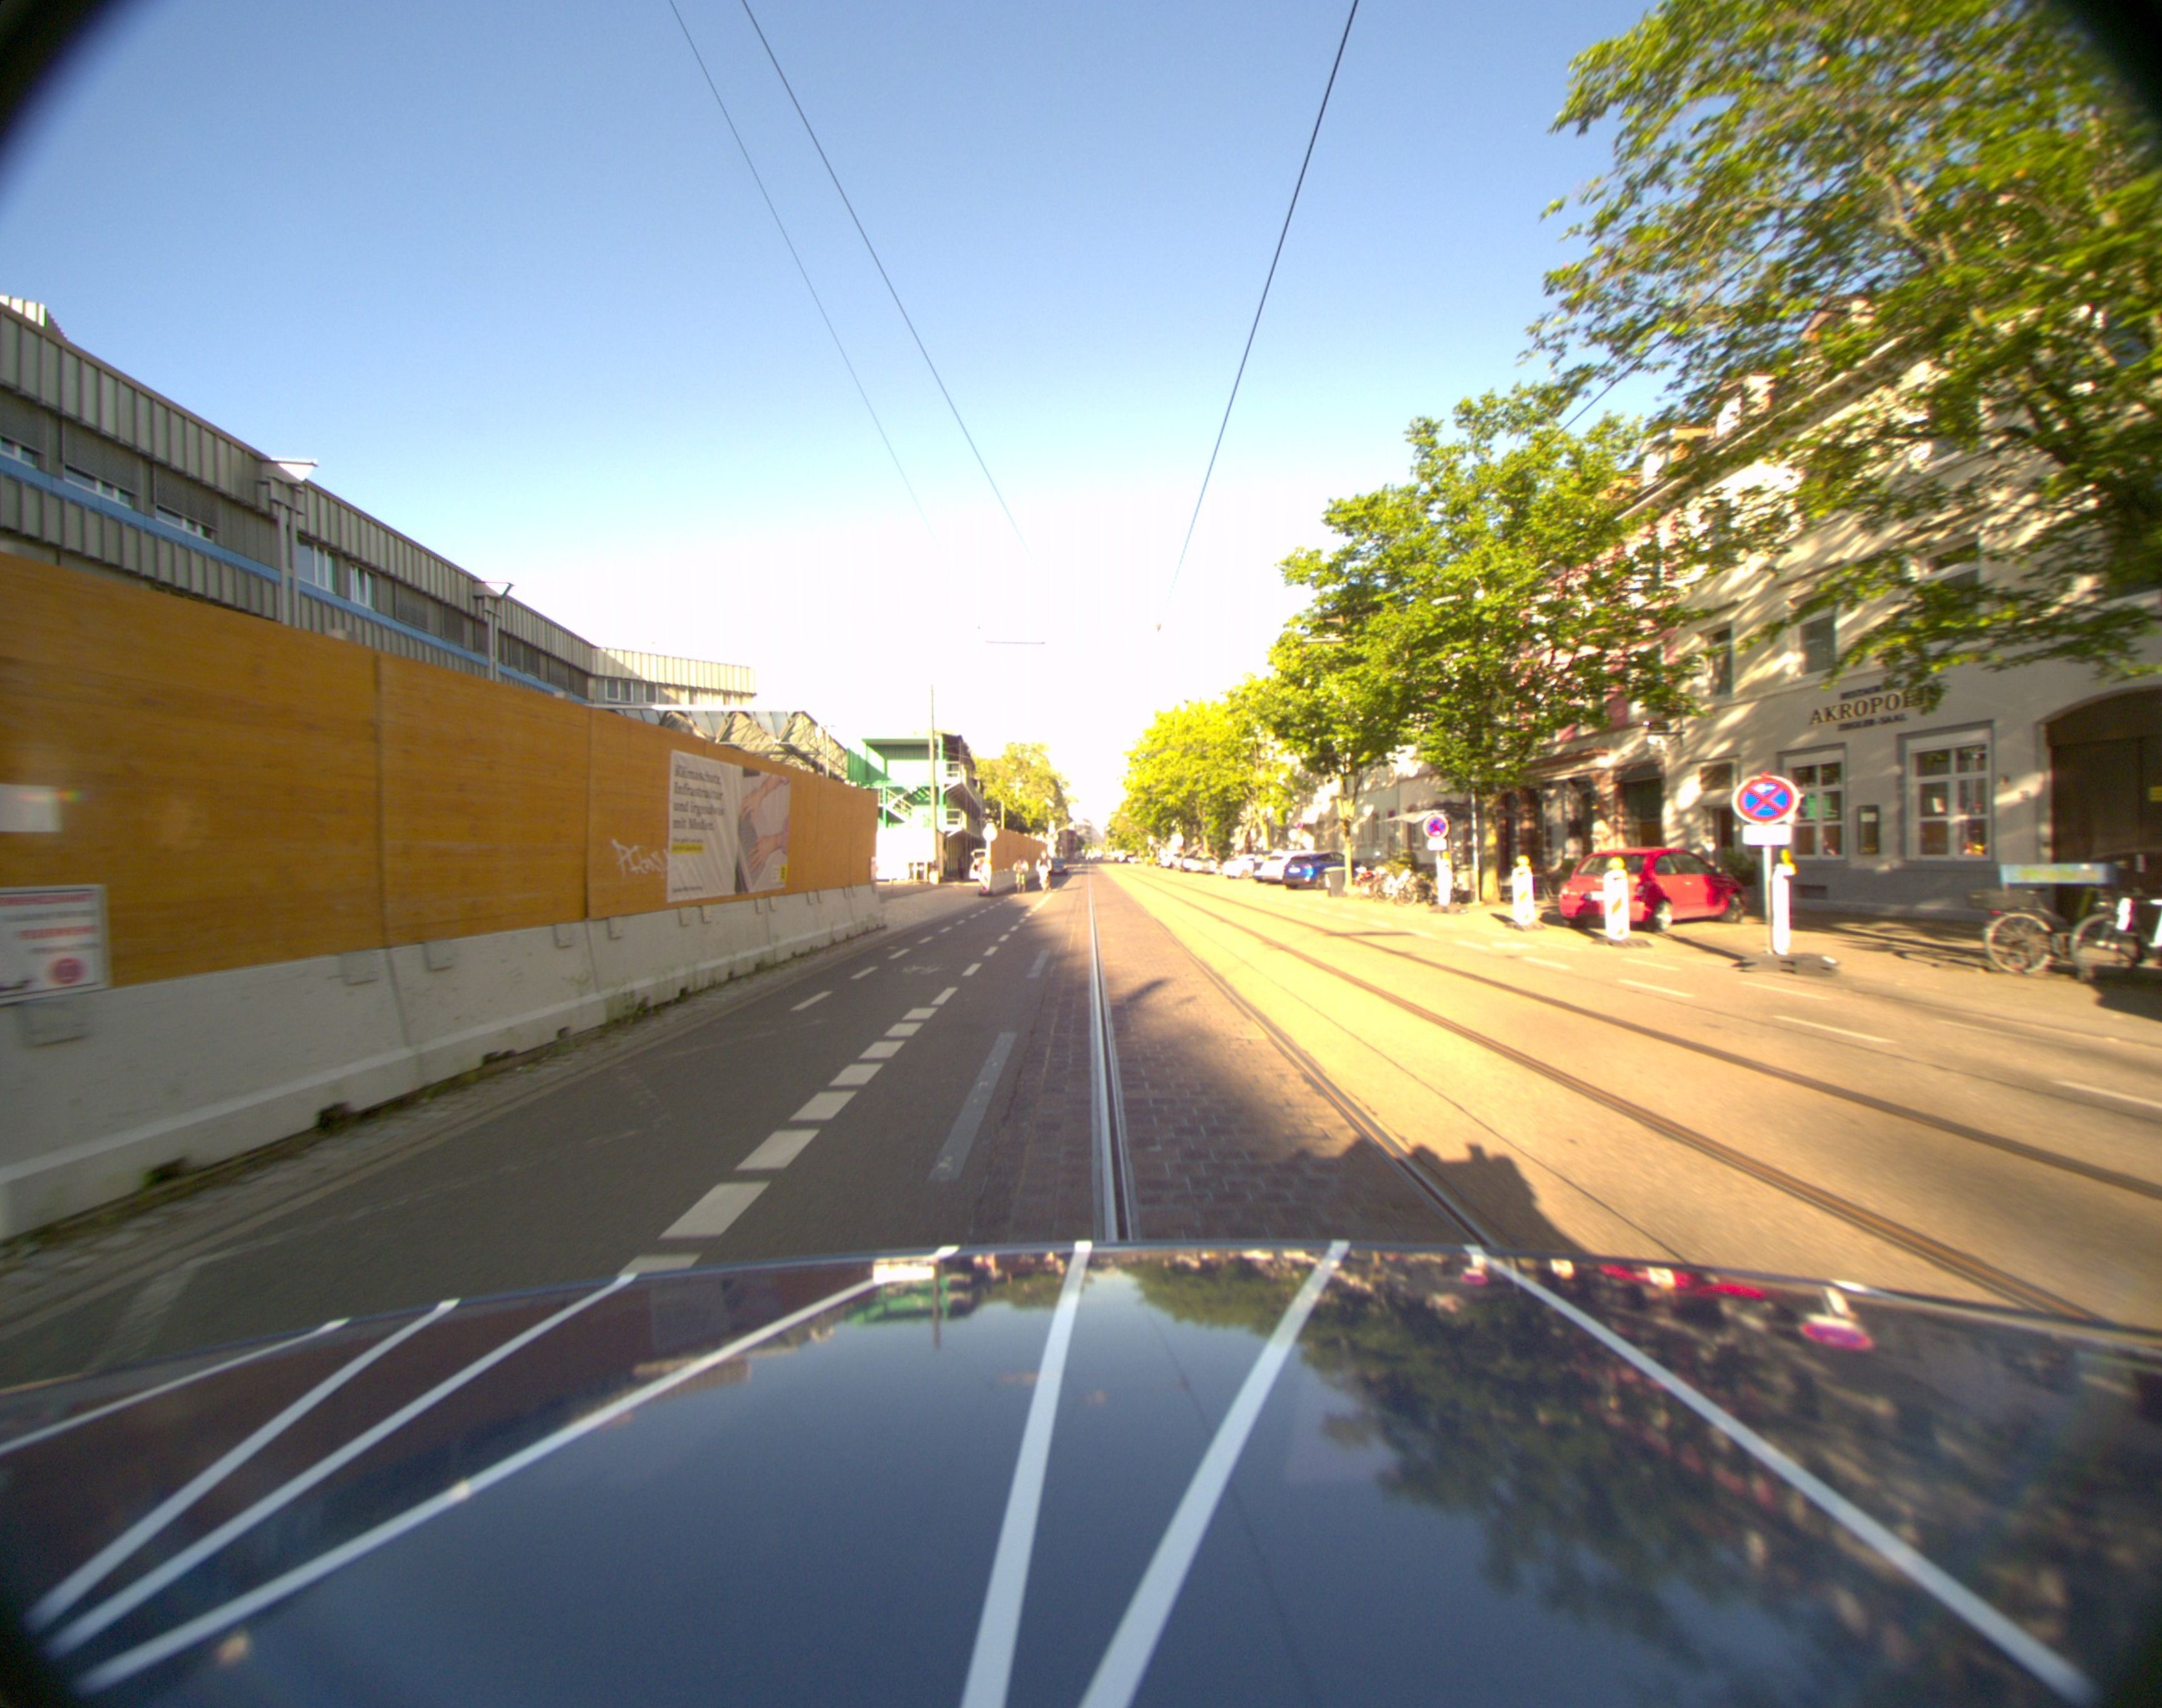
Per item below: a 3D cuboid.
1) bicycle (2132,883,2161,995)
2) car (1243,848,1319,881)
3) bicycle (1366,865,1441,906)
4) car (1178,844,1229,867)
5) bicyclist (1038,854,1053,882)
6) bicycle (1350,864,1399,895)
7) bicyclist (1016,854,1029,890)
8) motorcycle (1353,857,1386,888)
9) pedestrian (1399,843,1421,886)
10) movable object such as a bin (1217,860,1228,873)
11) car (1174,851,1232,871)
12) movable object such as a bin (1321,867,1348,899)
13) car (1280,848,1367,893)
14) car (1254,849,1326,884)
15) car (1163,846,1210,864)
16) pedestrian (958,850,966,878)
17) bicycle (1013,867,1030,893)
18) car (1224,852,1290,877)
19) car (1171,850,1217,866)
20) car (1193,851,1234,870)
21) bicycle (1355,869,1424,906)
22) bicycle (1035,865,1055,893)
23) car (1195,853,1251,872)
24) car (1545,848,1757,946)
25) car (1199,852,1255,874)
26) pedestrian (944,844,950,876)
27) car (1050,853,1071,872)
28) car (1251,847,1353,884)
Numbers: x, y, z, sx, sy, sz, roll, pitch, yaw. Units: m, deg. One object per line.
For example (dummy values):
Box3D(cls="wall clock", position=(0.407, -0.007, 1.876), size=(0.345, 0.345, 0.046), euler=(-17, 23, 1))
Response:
Box3D(cls="bicycle", position=(11.284, 0.864, 7.812), size=(1.597, 1.089, 0.332), euler=(0, 1, -44))
Box3D(cls="car", position=(11.624, 0.606, 44.159), size=(4.005, 1.647, 1.807), euler=(-3, 0, -27))
Box3D(cls="bicycle", position=(9.998, 0.979, 23.586), size=(2.007, 1.081, 0.567), euler=(-5, 0, 3))
Box3D(cls="car", position=(11.552, 0.123, 71.844), size=(4.448, 2.105, 2.163), euler=(-1, 0, -2))
Box3D(cls="bicyclist", position=(-1.571, 0.639, 33.733), size=(0.653, 1.230, 0.353), euler=(0, 1, -1))
Box3D(cls="bicycle", position=(10.302, 0.890, 26.652), size=(1.605, 0.982, 0.388), euler=(-2, 0, -10))
Box3D(cls="bicyclist", position=(-2.640, 0.799, 34.186), size=(0.557, 1.603, 0.576), euler=(0, 1, -1))
Box3D(cls="motorcycle", position=(12.138, 0.741, 31.933), size=(0.724, 1.246, 2.605), euler=(1, 0, 33))
Box3D(cls="pedestrian", position=(14.109, 0.459, 32.584), size=(0.645, 1.827, 0.624), euler=(0, 1, 2))
Box3D(cls="movable object such as a bin", position=(10.551, 0.940, 56.550), size=(0.623, 0.939, 0.670), euler=(2, 1, 0))
Box3D(cls="car", position=(11.003, 0.620, 68.818), size=(4.841, 1.714, 2.163), euler=(-1, 0, -2))
Box3D(cls="movable object such as a bin", position=(9.049, 1.039, 27.129), size=(0.685, 1.071, 0.710), euler=(-4, 0, 2))
Box3D(cls="car", position=(10.727, 0.682, 33.460), size=(3.908, 1.600, 1.569), euler=(-6, 4, -35))
Box3D(cls="car", position=(11.362, 0.648, 41.301), size=(3.449, 1.832, 1.730), euler=(0, 0, -21))
Box3D(cls="car", position=(12.199, 0.131, 87.794), size=(4.944, 2.002, 2.072), euler=(0, 0, -16))
Box3D(cls="pedestrian", position=(-7.469, 0.624, 47.735), size=(0.449, 1.748, 0.377), euler=(-1, 1, -19))
Box3D(cls="bicycle", position=(-2.658, 1.152, 34.280), size=(0.558, 1.120, 2.276), euler=(-1, 0, 0))
Box3D(cls="car", position=(11.168, 0.633, 48.196), size=(3.651, 1.521, 1.883), euler=(0, 0, -19))
Box3D(cls="car", position=(12.411, 0.461, 83.495), size=(4.708, 1.567, 1.954), euler=(-2, 0, -4))
Box3D(cls="car", position=(11.447, 0.559, 65.585), size=(3.380, 1.544, 1.381), euler=(0, 1, -30))
Box3D(cls="bicycle", position=(10.109, 1.094, 24.913), size=(1.972, 1.073, 0.568), euler=(-3, 0, 3))
Box3D(cls="bicycle", position=(-1.589, 1.073, 33.696), size=(0.669, 1.148, 2.276), euler=(-1, 0, 2))
Box3D(cls="car", position=(11.695, 0.728, 62.599), size=(4.174, 1.543, 1.700), euler=(0, 0, -15))
Box3D(cls="car", position=(10.828, 0.751, 14.428), size=(3.629, 1.544, 1.665), euler=(-2, -1, -25))
Box3D(cls="car", position=(11.478, 0.700, 59.901), size=(4.003, 1.667, 1.700), euler=(-1, 0, -19))
Box3D(cls="pedestrian", position=(-8.377, 0.365, 47.406), size=(0.307, 2.033, 0.352), euler=(-1, 1, -5))
Box3D(cls="car", position=(-1.797, 0.814, 67.407), size=(1.749, 1.612, 4.171), euler=(0, -1, 1))
Box3D(cls="car", position=(11.293, 0.543, 38.727), size=(4.948, 1.784, 2.203), euler=(-1, 0, -31))
